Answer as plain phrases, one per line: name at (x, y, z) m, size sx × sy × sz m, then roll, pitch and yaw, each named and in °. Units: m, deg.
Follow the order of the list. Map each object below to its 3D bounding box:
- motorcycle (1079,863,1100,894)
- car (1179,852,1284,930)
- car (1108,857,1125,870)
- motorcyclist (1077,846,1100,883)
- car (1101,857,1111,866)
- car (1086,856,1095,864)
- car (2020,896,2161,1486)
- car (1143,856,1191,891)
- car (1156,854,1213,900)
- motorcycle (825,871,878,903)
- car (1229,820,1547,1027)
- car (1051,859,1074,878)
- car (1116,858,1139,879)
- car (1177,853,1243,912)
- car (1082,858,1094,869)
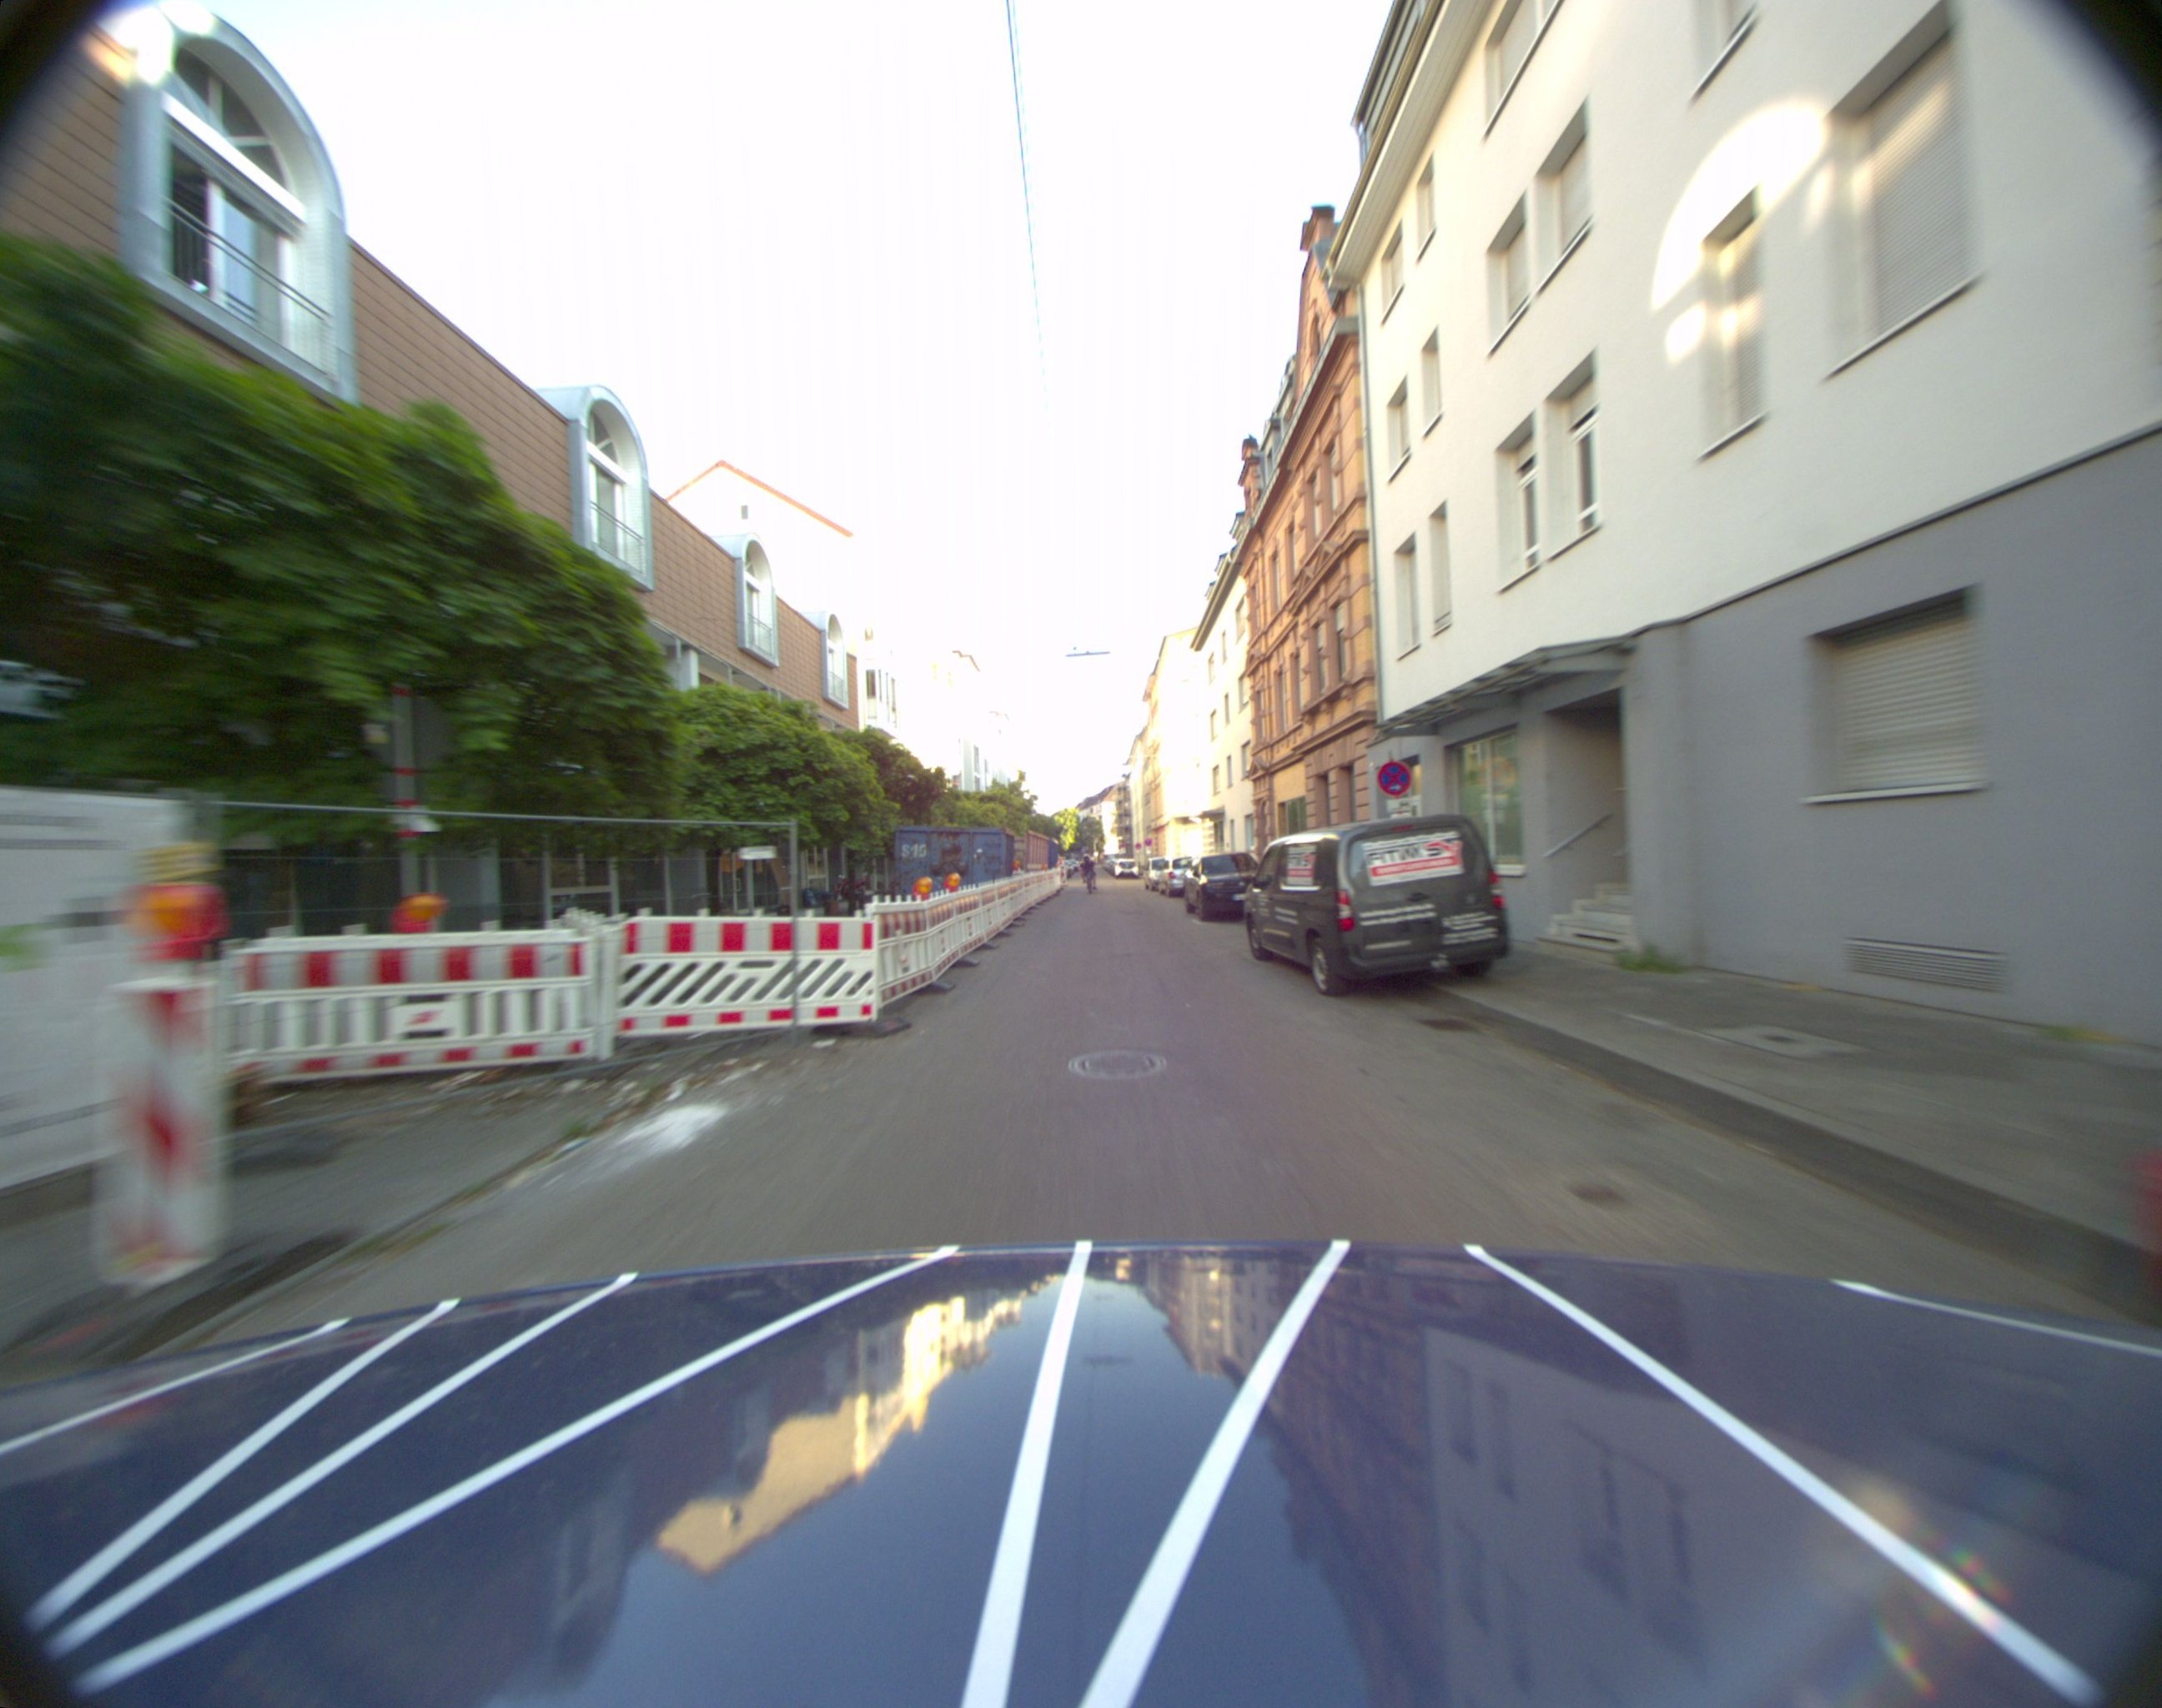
motorcycle at (0.379, 1.076, 33.278) m, size 0.806 × 1.242 × 1.699 m, roll -4°, pitch -2°, yaw 2°
car at (3.492, 0.798, 18.343) m, size 1.744 × 1.590 × 4.015 m, roll -3°, pitch 0°, yaw 1°
car at (4.685, 1.256, 100.789) m, size 1.999 × 1.575 × 4.493 m, roll -3°, pitch 0°, yaw 0°
motorcyclist at (0.332, 0.477, 33.267) m, size 0.874 × 1.558 × 1.000 m, roll -4°, pitch -2°, yaw 1°
car at (5.257, 1.536, 158.698) m, size 1.998 × 1.783 × 4.000 m, roll -3°, pitch 0°, yaw 1°
car at (2.430, 1.462, 188.438) m, size 1.998 × 1.783 × 4.000 m, roll -3°, pitch 0°, yaw 1°
car at (3.328, 0.786, 0.225) m, size 1.672 × 1.477 × 3.607 m, roll -8°, pitch -1°, yaw 6°
car at (3.828, 0.857, 34.322) m, size 1.636 × 1.421 × 3.555 m, roll -3°, pitch 0°, yaw 0°
car at (3.853, 0.834, 28.841) m, size 1.559 × 1.499 × 3.598 m, roll -5°, pitch 0°, yaw 0°
motorcycle at (-9.804, 1.410, 32.602) m, size 0.871 × 1.215 × 2.460 m, roll -2°, pitch 1°, yaw 19°
car at (3.344, 0.669, 9.461) m, size 1.999 × 1.847 × 4.585 m, roll -3°, pitch 0°, yaw 0°
car at (-1.739, 1.380, 72.537) m, size 1.863 × 1.679 × 4.391 m, roll -3°, pitch 0°, yaw 3°
car at (3.522, 1.080, 58.291) m, size 1.688 × 1.487 × 3.845 m, roll 1°, pitch 0°, yaw 3°
car at (3.730, 0.796, 22.362) m, size 1.399 × 1.579 × 2.794 m, roll -3°, pitch 0°, yaw 0°
car at (1.328, 1.609, 134.852) m, size 1.998 × 1.783 × 4.000 m, roll -3°, pitch 0°, yaw 1°
